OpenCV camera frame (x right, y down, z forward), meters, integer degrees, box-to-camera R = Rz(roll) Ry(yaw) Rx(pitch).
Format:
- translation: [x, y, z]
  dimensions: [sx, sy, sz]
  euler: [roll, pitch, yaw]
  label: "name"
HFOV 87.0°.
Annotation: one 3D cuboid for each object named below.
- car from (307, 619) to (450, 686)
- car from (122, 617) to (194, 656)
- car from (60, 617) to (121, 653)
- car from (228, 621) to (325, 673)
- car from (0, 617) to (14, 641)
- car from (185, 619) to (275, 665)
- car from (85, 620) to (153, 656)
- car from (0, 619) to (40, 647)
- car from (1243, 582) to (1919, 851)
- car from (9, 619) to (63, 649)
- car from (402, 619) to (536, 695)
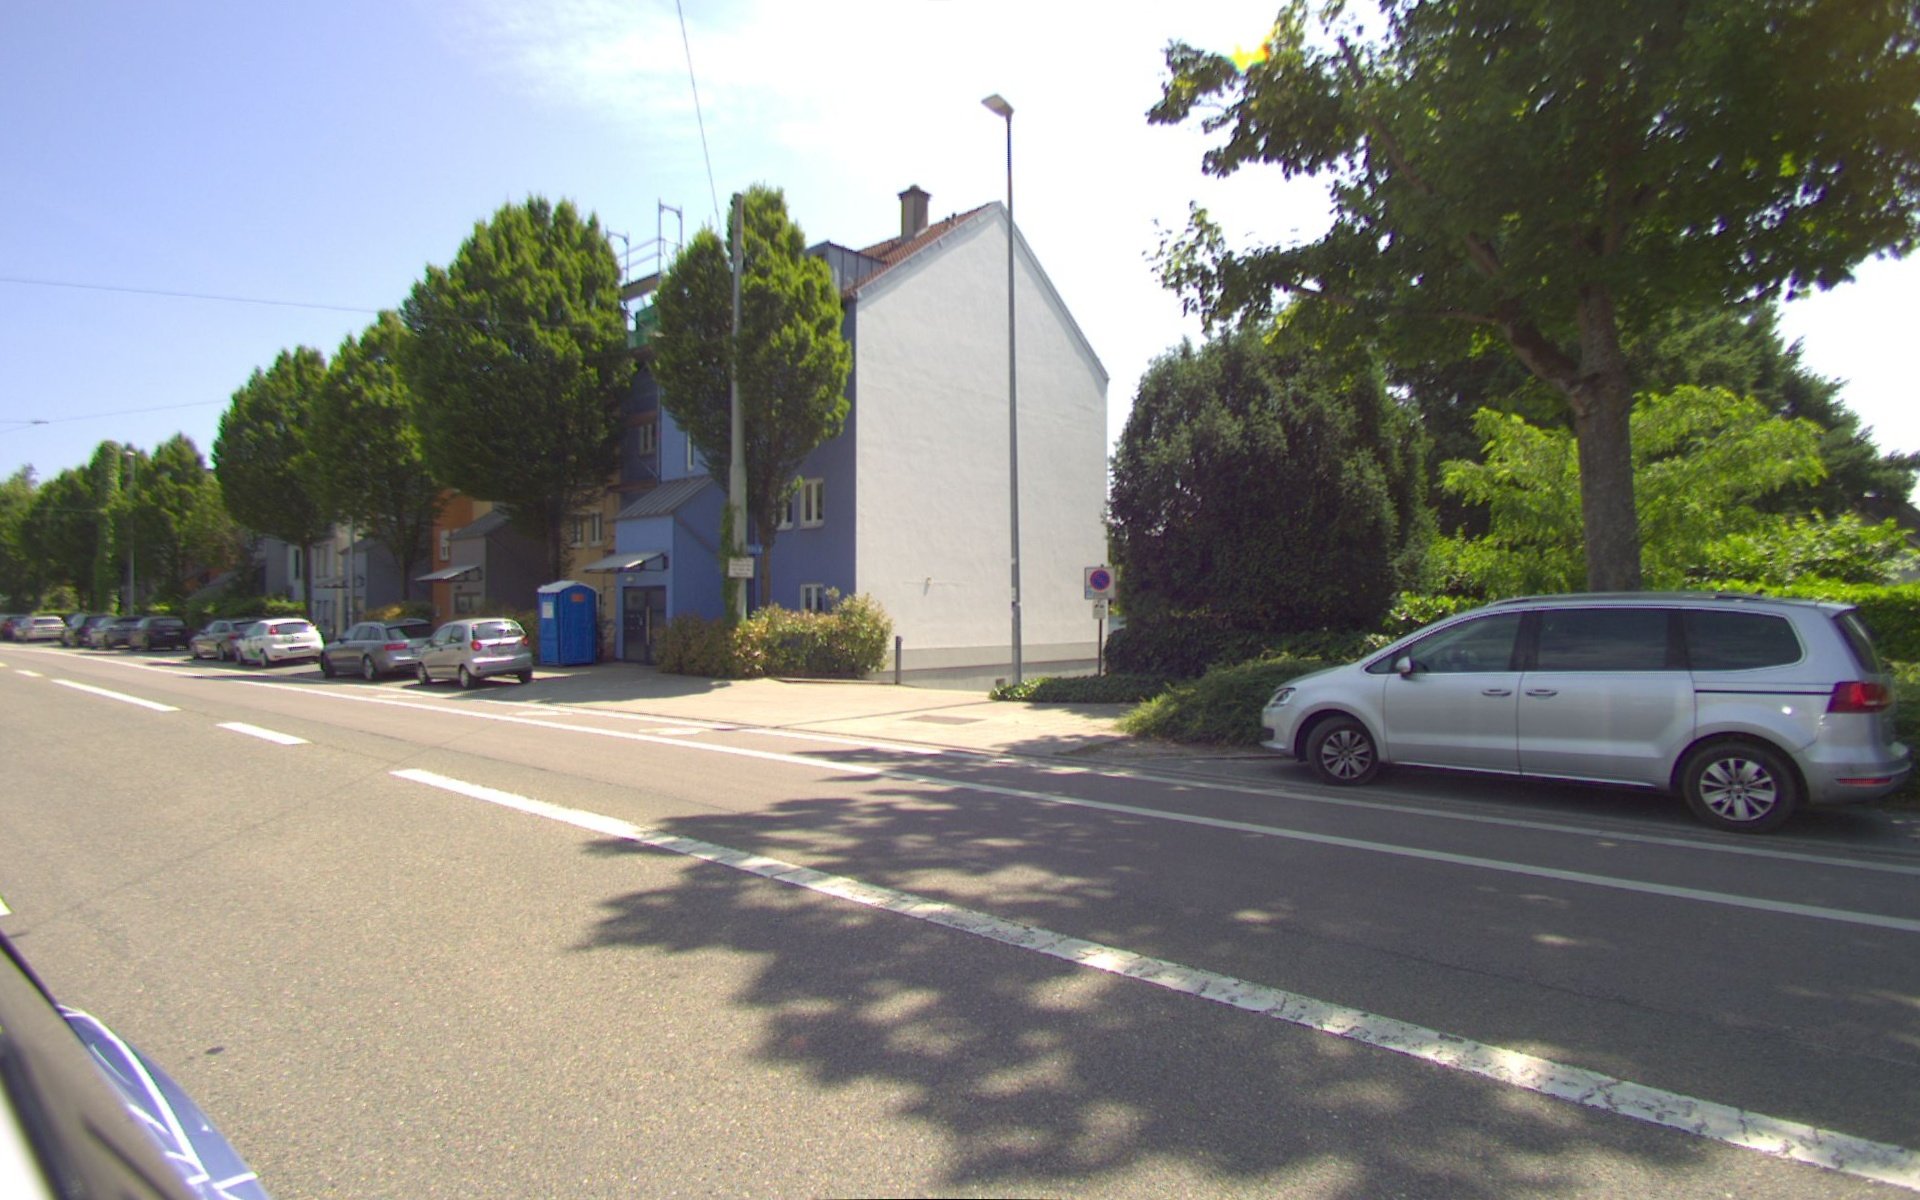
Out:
- translation: [-15.222, 1.309, 26.391]
  dimensions: [4.635, 1.507, 1.659]
  euler: [-1, 2, 40]
  label: "car"
- translation: [-35.042, 1.564, 44.190]
  dimensions: [4.079, 1.507, 1.636]
  euler: [-1, 2, 40]
  label: "car"
- translation: [-43.663, 1.729, 50.792]
  dimensions: [4.079, 1.599, 1.636]
  euler: [-1, 2, 40]
  label: "car"
- translation: [-22.432, 1.481, 33.191]
  dimensions: [3.646, 1.507, 1.636]
  euler: [-1, 2, 40]
  label: "car"
- translation: [-61.399, 1.838, 63.992]
  dimensions: [3.467, 1.507, 1.841]
  euler: [-1, -2, 40]
  label: "car"
- translation: [-26.589, 1.483, 36.805]
  dimensions: [4.079, 1.507, 1.636]
  euler: [-1, 2, 40]
  label: "car"
- translation: [-38.976, 1.728, 46.867]
  dimensions: [4.079, 1.507, 1.636]
  euler: [-1, 2, 40]
  label: "car"
- translation: [-57.319, 1.974, 61.294]
  dimensions: [3.467, 1.507, 1.842]
  euler: [-1, 2, 40]
  label: "car"
- translation: [5.049, 0.761, 8.674]
  dimensions: [4.687, 1.701, 1.950]
  euler: [-1, 0, 43]
  label: "car"
- translation: [-52.834, 1.919, 57.864]
  dimensions: [4.079, 1.507, 1.702]
  euler: [-1, 2, 40]
  label: "car"
- translation: [-11.256, 1.239, 23.138]
  dimensions: [3.279, 1.507, 1.487]
  euler: [-1, 3, 40]
  label: "car"
